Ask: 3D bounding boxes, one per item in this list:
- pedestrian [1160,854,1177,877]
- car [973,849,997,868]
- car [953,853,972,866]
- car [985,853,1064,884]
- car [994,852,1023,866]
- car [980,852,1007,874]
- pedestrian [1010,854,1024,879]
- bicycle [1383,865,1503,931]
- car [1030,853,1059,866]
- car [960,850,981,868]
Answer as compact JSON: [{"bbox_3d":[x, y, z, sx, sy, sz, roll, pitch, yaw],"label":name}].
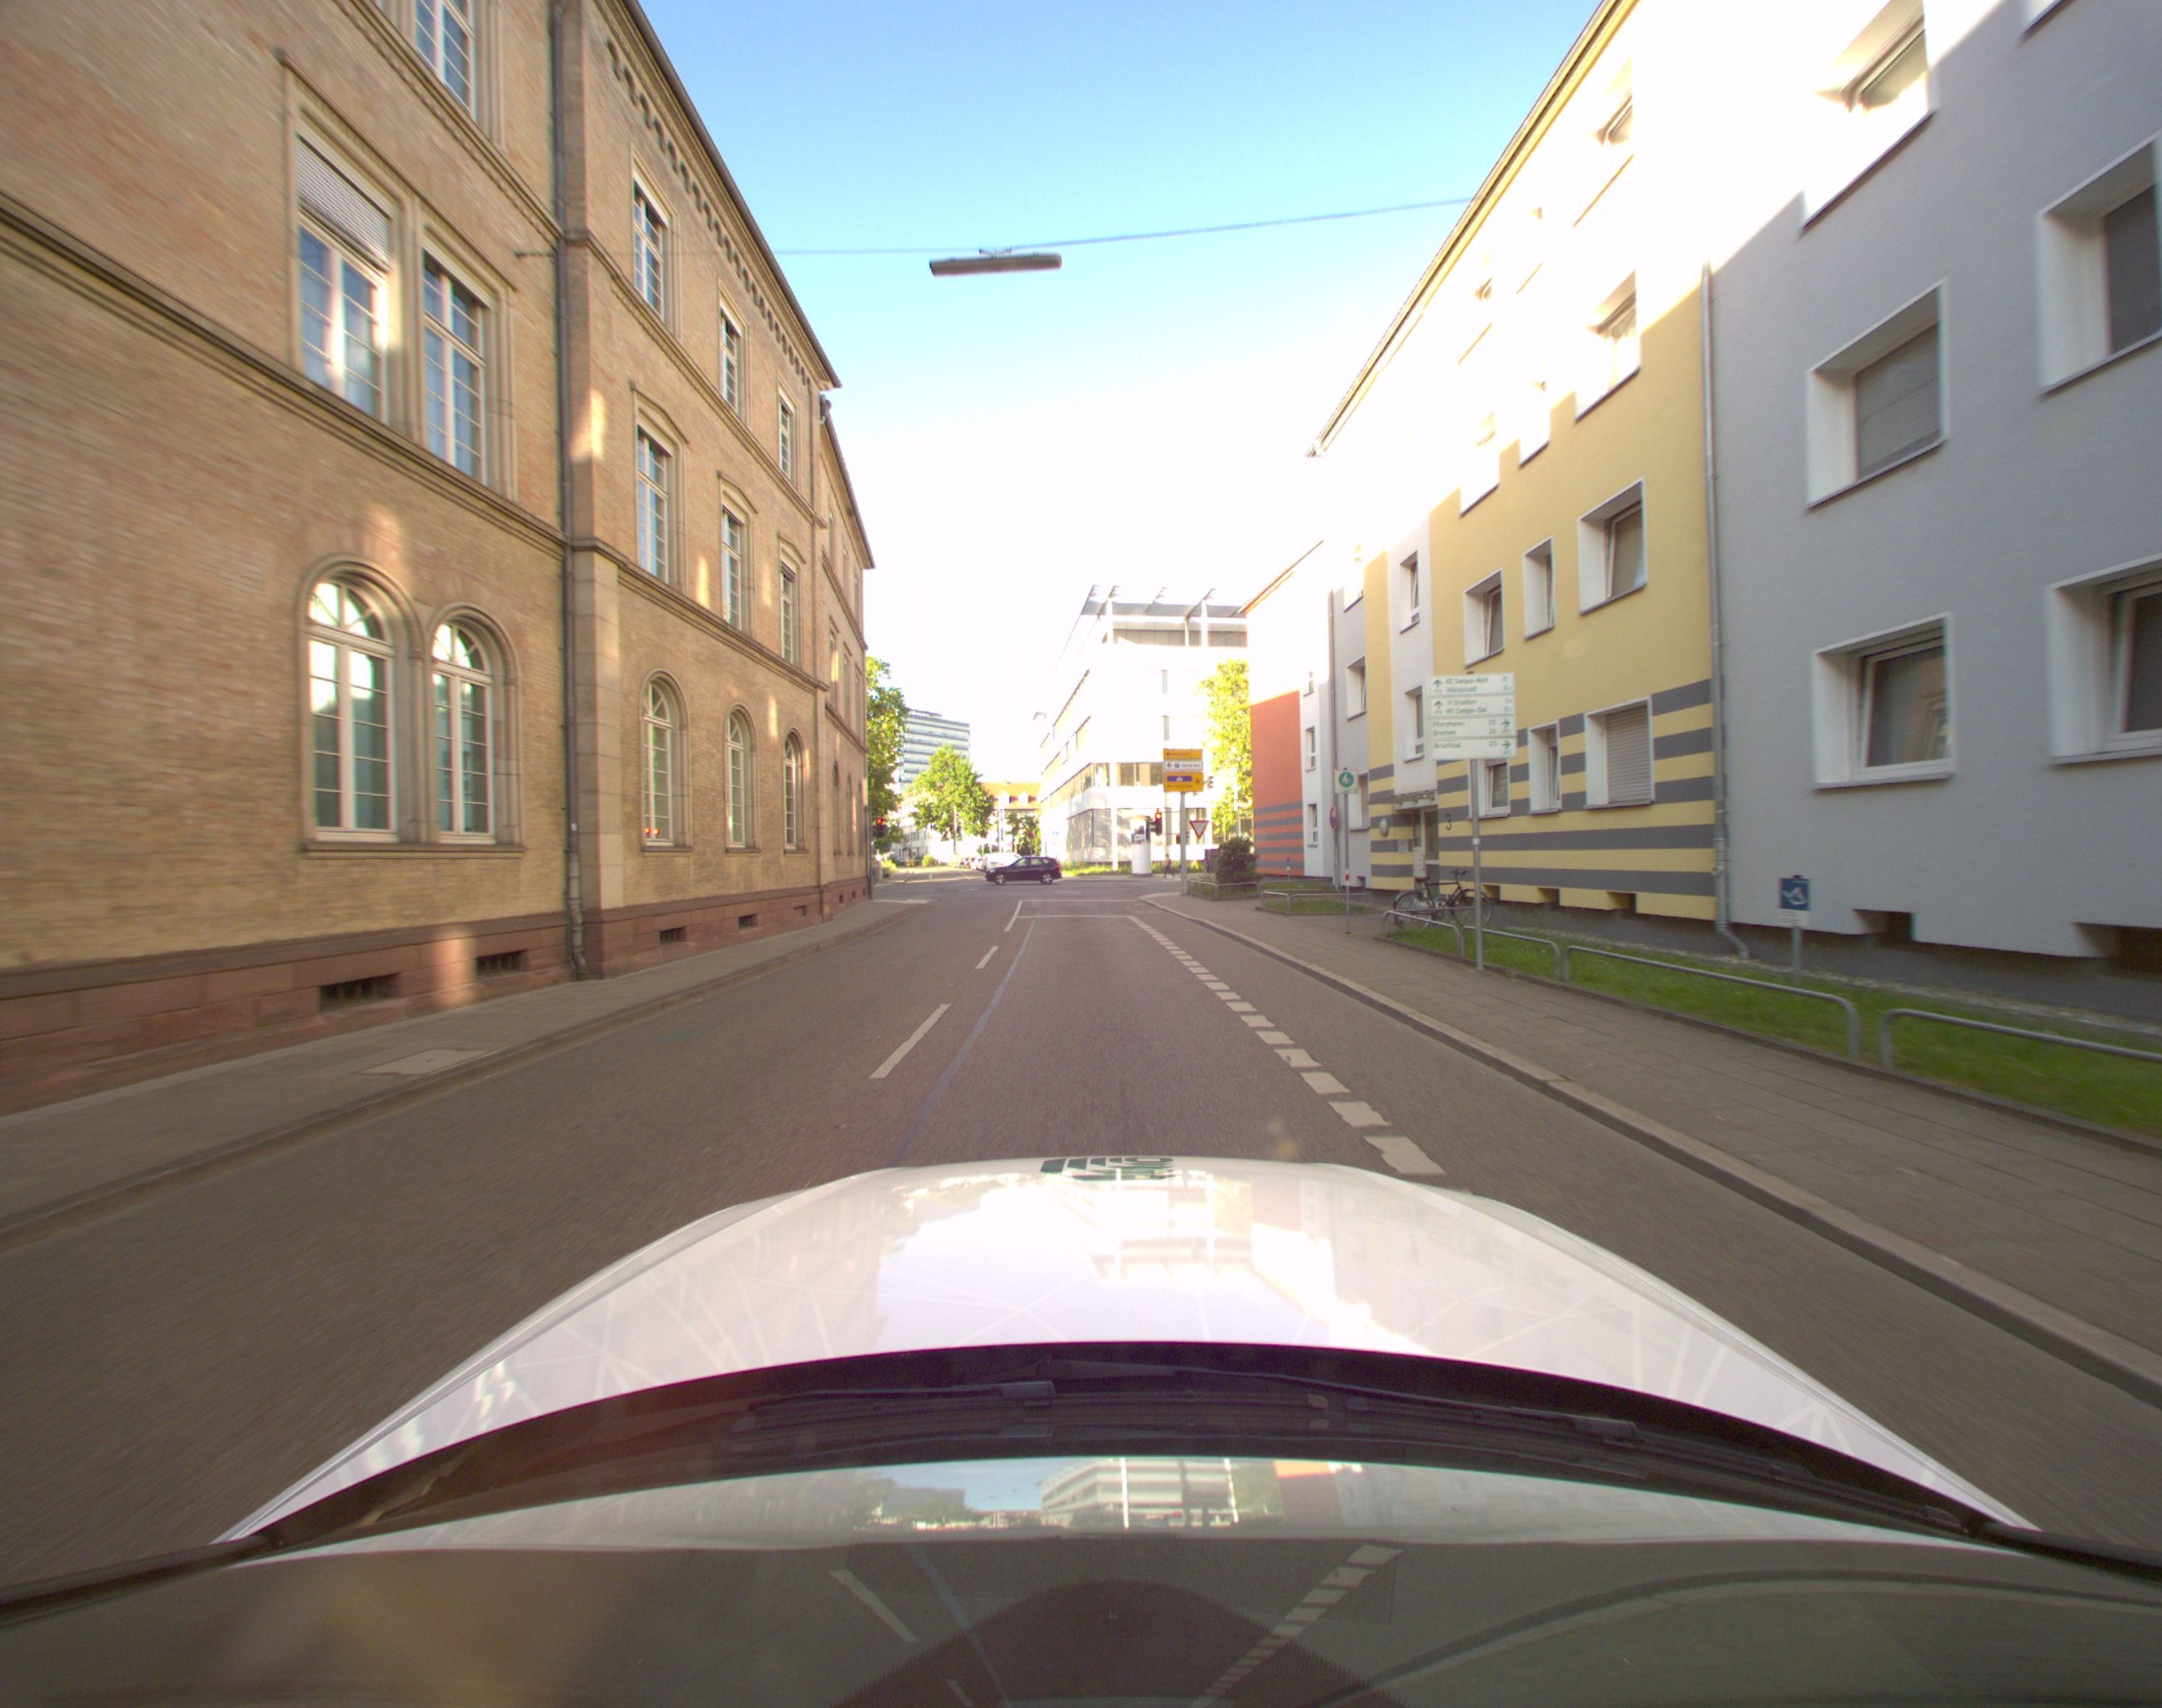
[{"bbox_3d":[5.746,0.749,53.523,0.927,1.515,0.844,1,-1,-11],"label":"pedestrian"},{"bbox_3d":[-11.211,0.591,94.552,2.331,2.112,4.986,1,-1,-12],"label":"car"},{"bbox_3d":[-16.571,0.815,113.959,2.331,1.733,4.986,1,-1,-12],"label":"car"},{"bbox_3d":[-3.273,0.820,46.944,4.365,1.633,1.994,-1,0,-9],"label":"car"},{"bbox_3d":[-10.760,0.749,120.933,4.001,1.915,1.907,1,-1,-21],"label":"car"},{"bbox_3d":[-9.001,0.931,83.089,2.424,2.112,5.214,1,-1,-9],"label":"car"},{"bbox_3d":[-4.468,0.857,56.797,0.927,1.759,0.844,1,-1,-11],"label":"pedestrian"},{"bbox_3d":[6.138,0.738,13.860,1.749,1.004,0.613,-3,-1,-3],"label":"bicycle"},{"bbox_3d":[-5.577,0.780,122.968,4.001,1.882,1.922,1,-1,-21],"label":"car"},{"bbox_3d":[-14.166,0.654,103.973,2.331,2.112,4.986,1,-1,-12],"label":"car"}]
